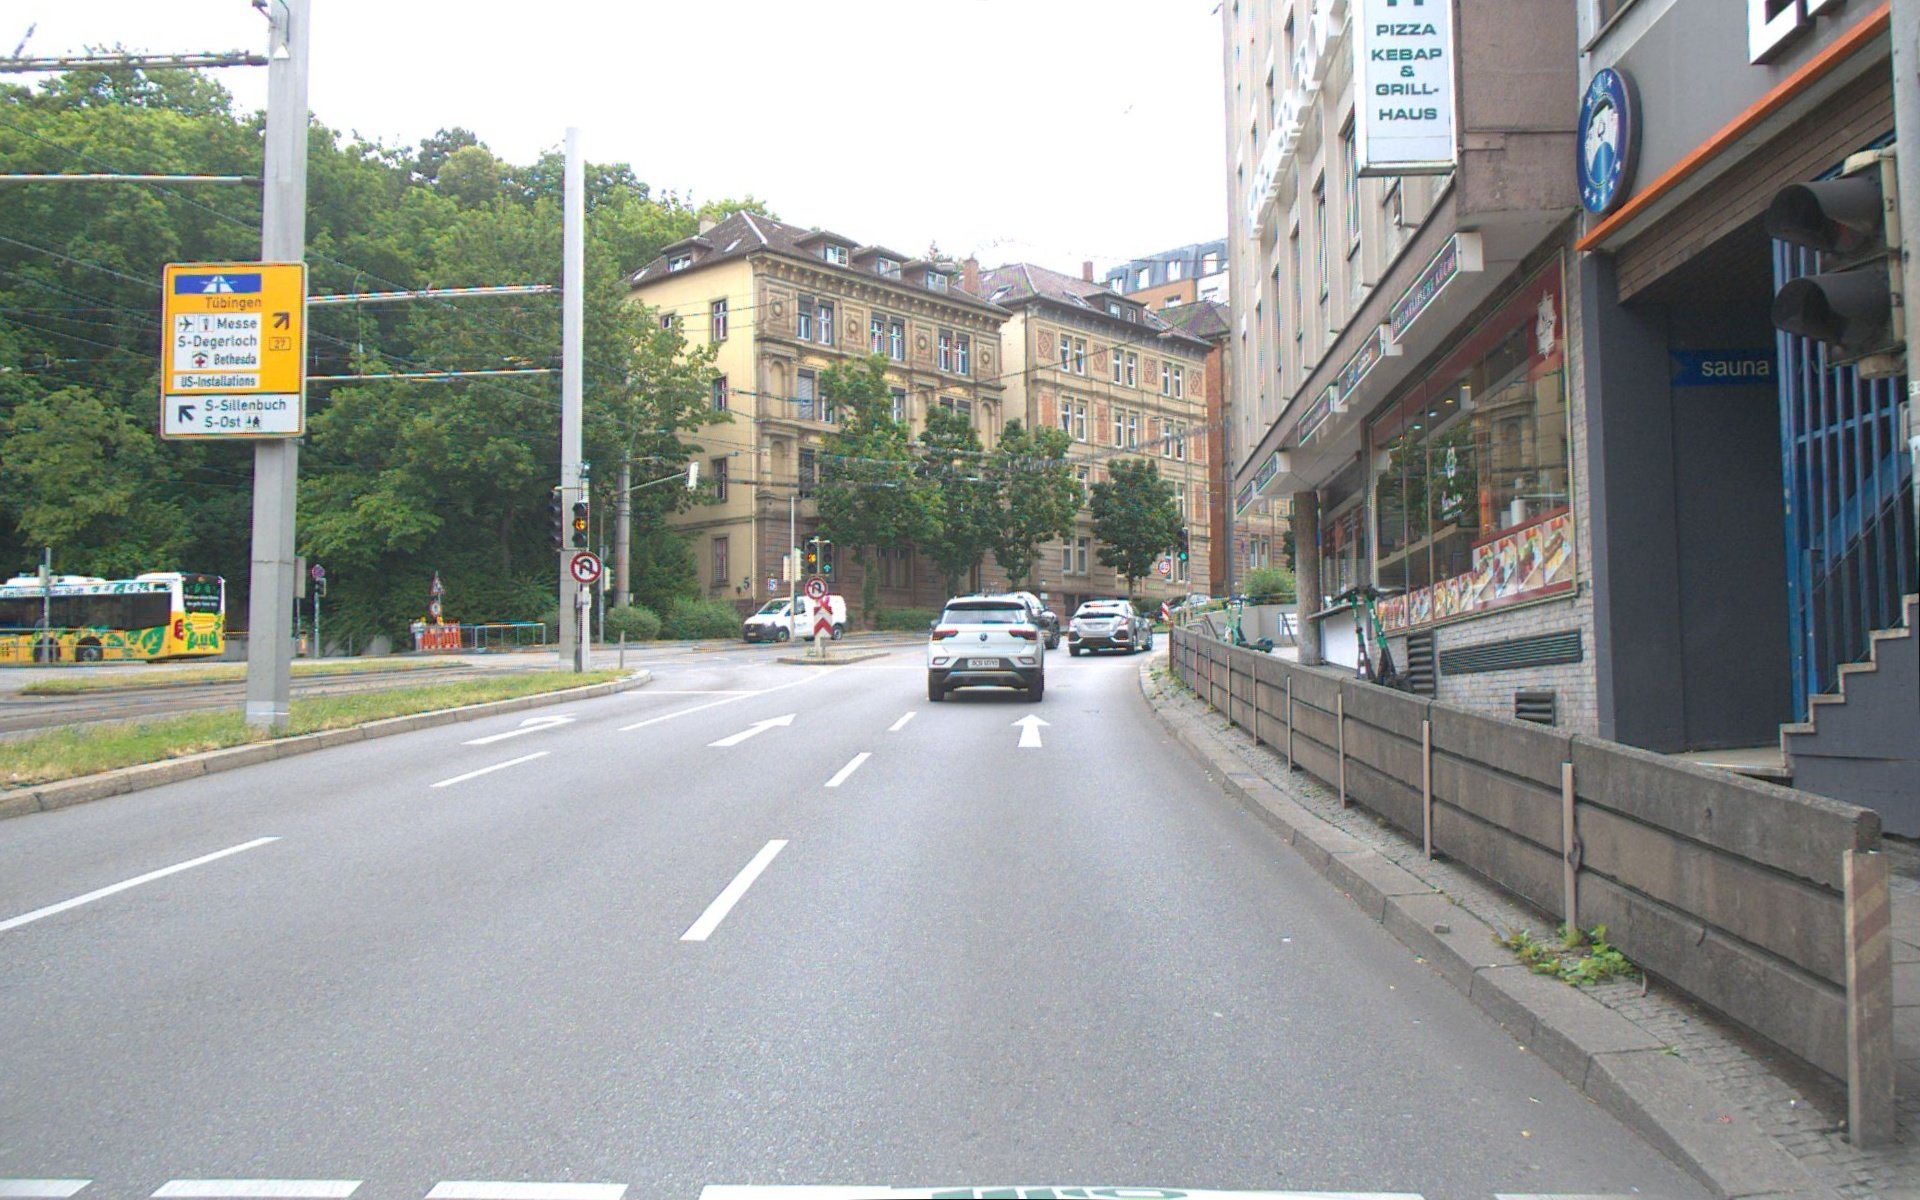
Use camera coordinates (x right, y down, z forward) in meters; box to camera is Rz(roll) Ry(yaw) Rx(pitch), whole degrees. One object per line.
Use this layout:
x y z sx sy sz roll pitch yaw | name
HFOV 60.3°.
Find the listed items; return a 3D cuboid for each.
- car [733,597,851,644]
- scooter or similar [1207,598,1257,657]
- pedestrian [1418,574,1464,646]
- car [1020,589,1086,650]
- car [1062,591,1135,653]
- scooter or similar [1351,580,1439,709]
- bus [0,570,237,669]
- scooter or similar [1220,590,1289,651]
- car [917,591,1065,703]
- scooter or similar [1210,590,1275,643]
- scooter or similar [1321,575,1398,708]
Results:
-6.931 0.858 68.787 1.962 1.882 4.968 -2 -2 39 | car
5.751 0.576 34.944 0.996 1.203 0.373 -1 -1 -27 | scooter or similar
13.044 0.264 44.834 0.818 1.841 1.149 6 3 26 | pedestrian
2.877 0.564 50.434 1.800 1.770 4.003 -1 0 6 | car
3.709 0.599 44.668 1.863 1.601 3.836 1 -1 4 | car
4.475 0.441 17.083 0.617 1.271 1.334 -1 0 4 | scooter or similar
-30.829 0.715 56.433 11.264 3.082 3.393 -2 0 10 | bus
6.530 0.442 36.611 1.424 1.276 0.552 -3 0 -27 | scooter or similar
0.576 0.704 26.128 1.897 1.594 4.049 -1 -1 7 | car
6.522 0.380 38.212 1.424 1.203 0.578 1 -1 -27 | scooter or similar
4.638 0.471 19.280 0.654 1.501 1.179 -1 0 4 | scooter or similar
